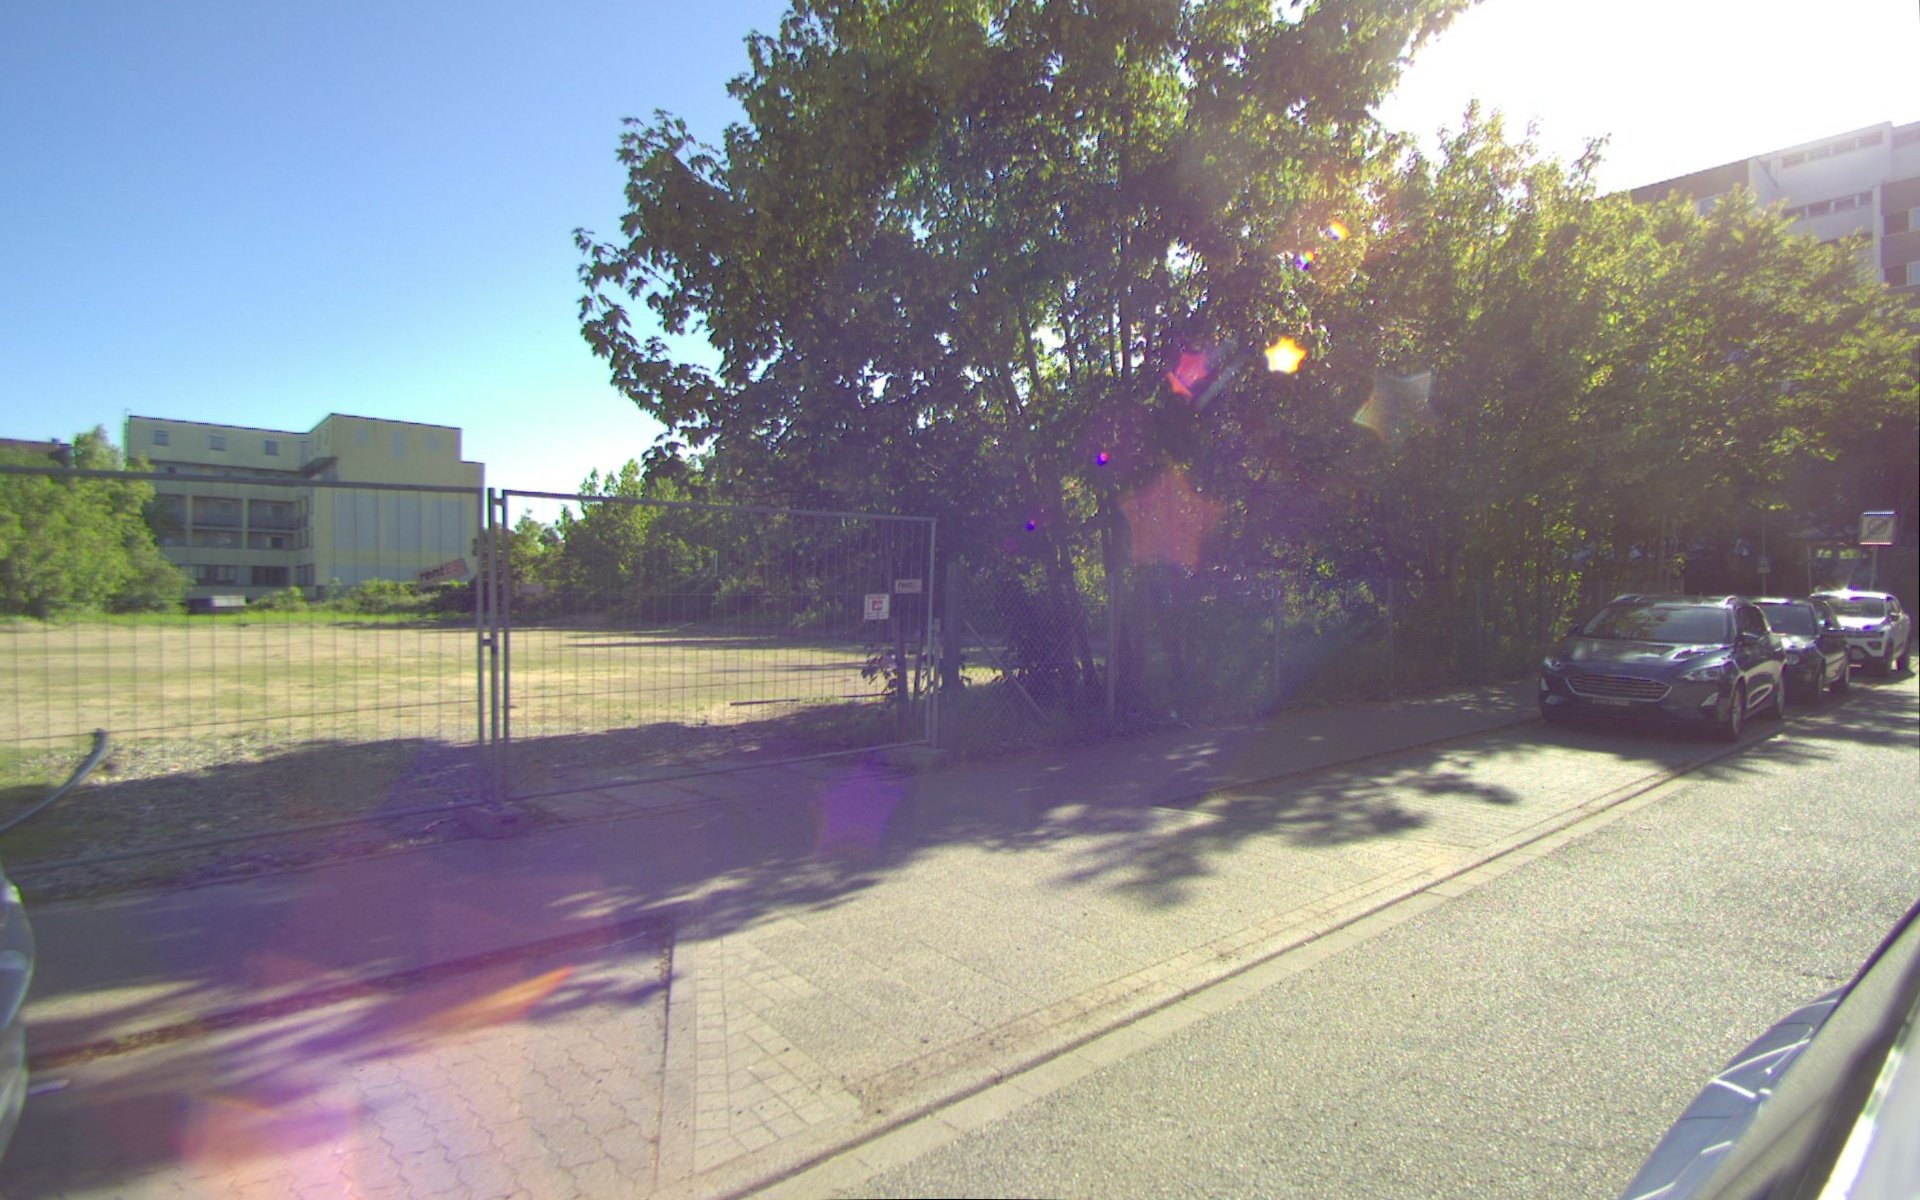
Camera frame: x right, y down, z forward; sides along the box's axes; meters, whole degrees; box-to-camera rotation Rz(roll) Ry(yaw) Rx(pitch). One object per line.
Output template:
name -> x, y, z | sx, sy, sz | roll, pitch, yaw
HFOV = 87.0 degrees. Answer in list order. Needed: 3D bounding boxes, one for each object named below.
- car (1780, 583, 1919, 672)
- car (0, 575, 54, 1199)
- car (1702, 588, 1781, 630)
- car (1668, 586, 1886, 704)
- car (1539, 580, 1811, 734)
car -> 17.087, 0.448, 19.206 | 4.018, 1.469, 1.622 | -2, 1, -40
car -> -3.634, 0.691, 1.048 | 3.929, 1.532, 1.665 | 1, -1, -41
car -> 30.654, 0.321, 39.658 | 3.931, 1.469, 1.714 | -2, 1, -41
car -> 12.079, 0.553, 14.883 | 3.998, 1.490, 1.827 | -1, 0, -41
car -> 8.344, 0.516, 11.643 | 4.364, 1.456, 1.678 | -1, 0, -43
